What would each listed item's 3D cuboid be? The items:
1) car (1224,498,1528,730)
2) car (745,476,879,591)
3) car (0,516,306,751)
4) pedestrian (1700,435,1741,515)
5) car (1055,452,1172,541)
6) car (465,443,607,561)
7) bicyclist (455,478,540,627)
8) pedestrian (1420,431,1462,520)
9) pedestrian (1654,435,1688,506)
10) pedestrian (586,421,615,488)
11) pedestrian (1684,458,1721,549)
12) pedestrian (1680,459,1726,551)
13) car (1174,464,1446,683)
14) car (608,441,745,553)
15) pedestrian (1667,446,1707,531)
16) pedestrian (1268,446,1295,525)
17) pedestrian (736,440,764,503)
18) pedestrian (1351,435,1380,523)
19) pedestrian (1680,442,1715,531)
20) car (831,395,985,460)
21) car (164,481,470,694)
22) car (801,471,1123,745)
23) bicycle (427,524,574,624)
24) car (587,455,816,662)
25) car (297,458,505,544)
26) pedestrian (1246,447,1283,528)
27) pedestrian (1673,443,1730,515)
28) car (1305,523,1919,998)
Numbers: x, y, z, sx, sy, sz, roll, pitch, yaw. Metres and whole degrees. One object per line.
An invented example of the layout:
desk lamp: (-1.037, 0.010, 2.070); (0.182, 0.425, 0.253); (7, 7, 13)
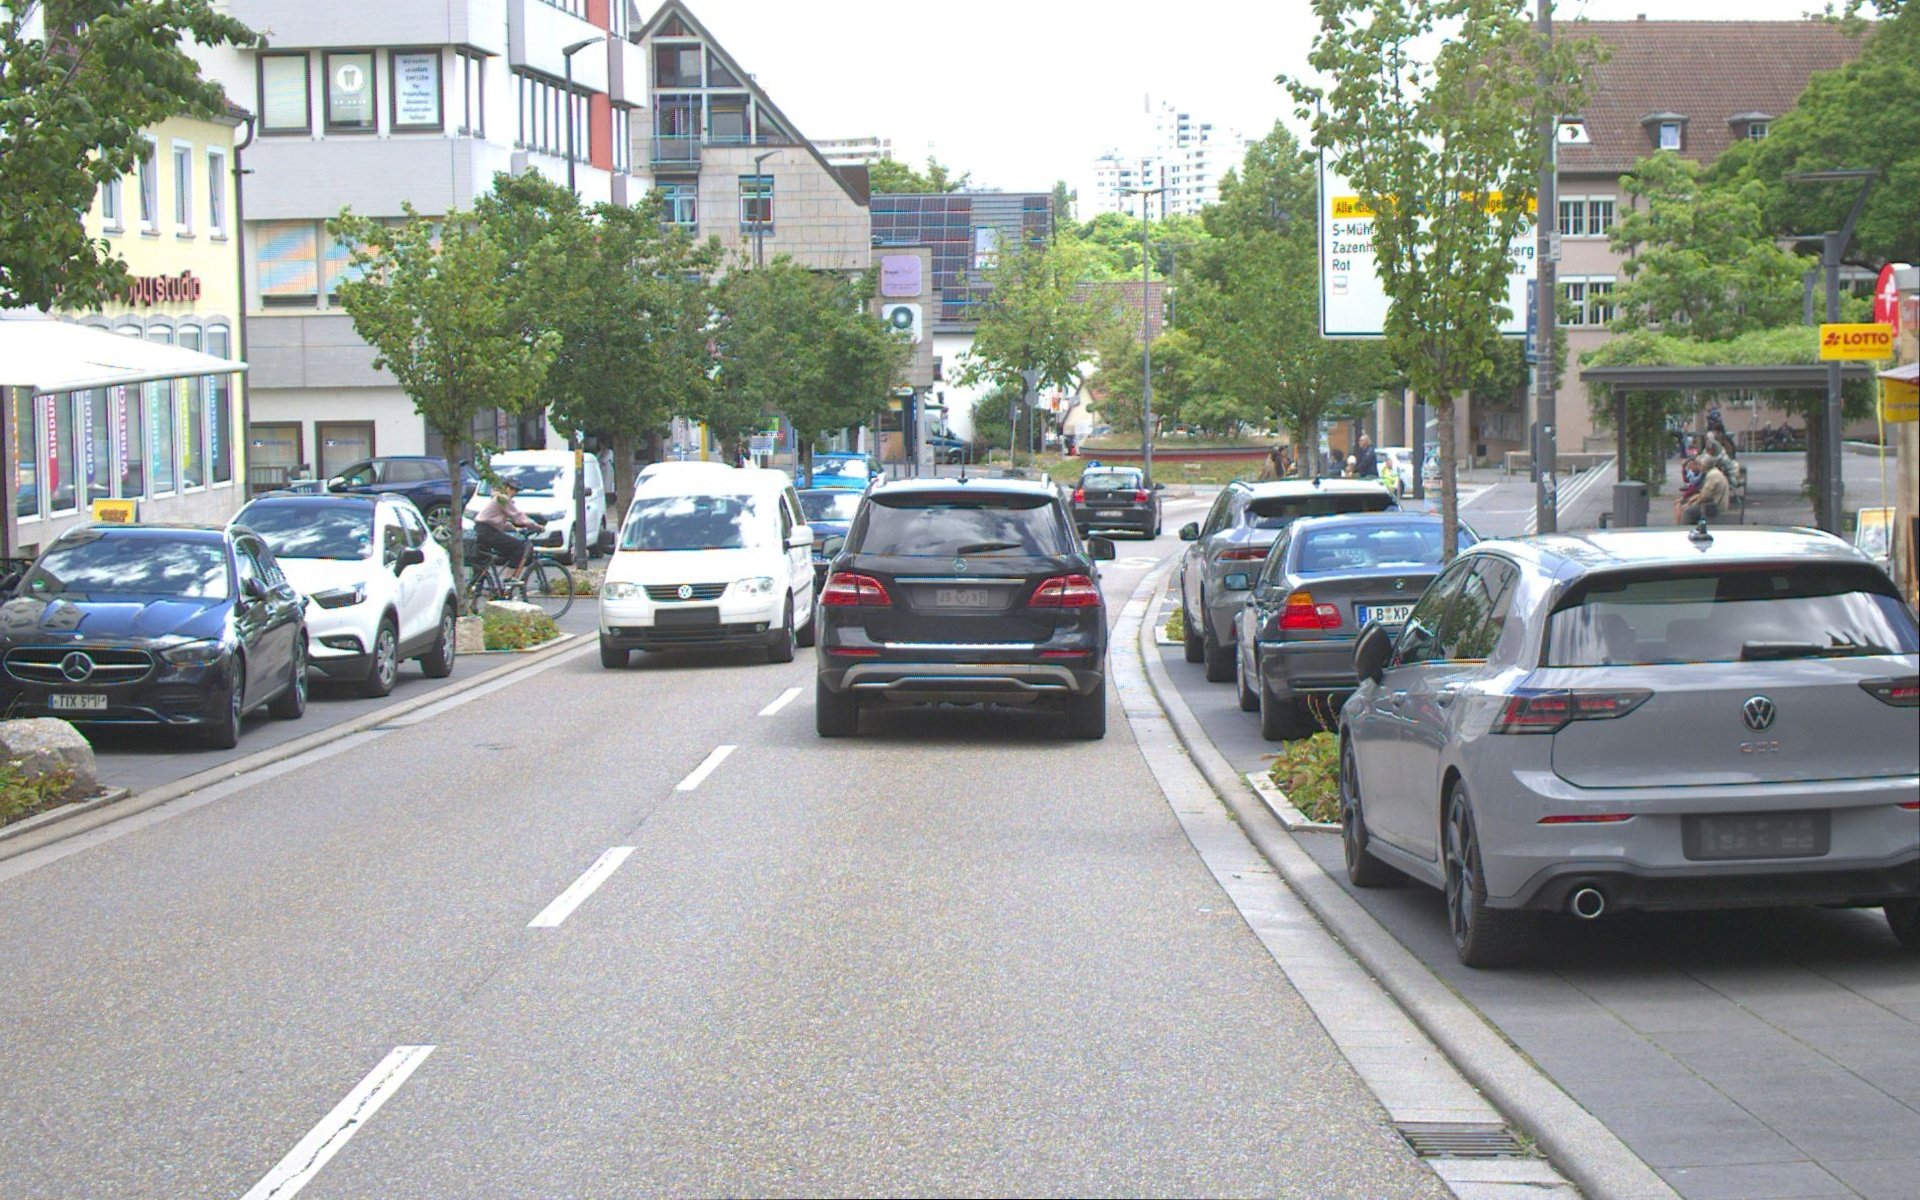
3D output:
car: (2.742, 0.059, 23.454); (1.681, 1.412, 4.371); (-1, 1, 2)
car: (-2.053, -0.963, 48.479); (1.606, 1.383, 3.630); (-2, 4, 1)
car: (-5.766, 0.162, 24.154); (1.839, 1.446, 4.516); (1, 2, -5)
pedestrian: (12.675, -2.080, 57.305); (0.624, 1.303, 0.546); (-1, 3, 10)
car: (3.028, -2.095, 68.585); (2.052, 1.582, 4.374); (2, 3, 0)
car: (-6.929, -1.649, 56.579); (1.756, 1.807, 4.477); (1, 3, 0)
bicyclist: (-5.377, -0.558, 39.990); (0.775, 1.689, 0.510); (-3, 3, -34)
pedestrian: (9.118, -2.364, 65.159); (0.685, 1.676, 0.714); (0, 3, 16)
pedestrian: (13.323, -2.422, 64.425); (0.568, 1.319, 0.545); (1, 3, 15)
pedestrian: (-8.434, -3.417, 80.591); (0.510, 1.561, 0.586); (-1, 3, 6)
pedestrian: (11.089, -1.444, 51.348); (0.495, 1.316, 0.575); (-1, 5, 9)
pedestrian: (10.962, -1.400, 50.728); (0.616, 1.316, 0.586); (-1, 5, 9)
car: (2.944, -0.300, 29.791); (1.928, 1.718, 4.574); (-1, 2, 1)
car: (-4.428, -1.653, 54.211); (1.656, 1.666, 4.351); (1, 3, 2)
pedestrian: (11.117, -1.702, 52.605); (0.568, 1.257, 0.541); (-1, 5, 10)
pedestrian: (6.436, -2.300, 68.919); (0.500, 1.560, 0.498); (-1, 3, 5)
pedestrian: (-5.329, -3.251, 87.194); (0.587, 1.582, 0.638); (1, 3, 7)
pedestrian: (7.803, -2.325, 66.204); (0.511, 1.674, 0.576); (-1, 3, 6)
pedestrian: (11.148, -1.720, 51.968); (0.498, 1.316, 0.525); (-1, 5, 10)
car: (-2.253, -7.428, 148.598); (6.283, 2.551, 2.207); (1, 0, -15)
car: (-5.400, -0.168, 29.345); (1.666, 1.640, 4.134); (1, 2, 3)
car: (-0.052, 0.013, 24.021); (2.027, 1.721, 4.434); (0, 1, -2)
bicycle: (-5.342, -0.310, 40.019); (1.649, 1.083, 0.413); (-4, 3, -35)
car: (-2.424, -0.430, 33.170); (1.746, 1.796, 4.212); (-2, 2, 1)
car: (-10.380, -1.856, 64.026); (3.627, 1.553, 1.669); (0, 3, -1)
pedestrian: (5.884, -2.167, 66.475); (0.513, 1.543, 0.486); (0, 3, 32)
pedestrian: (13.198, -2.160, 61.216); (0.770, 1.264, 0.675); (2, 4, 36)
car: (2.437, 0.460, 12.760); (1.754, 1.436, 4.090); (-2, 1, -2)
